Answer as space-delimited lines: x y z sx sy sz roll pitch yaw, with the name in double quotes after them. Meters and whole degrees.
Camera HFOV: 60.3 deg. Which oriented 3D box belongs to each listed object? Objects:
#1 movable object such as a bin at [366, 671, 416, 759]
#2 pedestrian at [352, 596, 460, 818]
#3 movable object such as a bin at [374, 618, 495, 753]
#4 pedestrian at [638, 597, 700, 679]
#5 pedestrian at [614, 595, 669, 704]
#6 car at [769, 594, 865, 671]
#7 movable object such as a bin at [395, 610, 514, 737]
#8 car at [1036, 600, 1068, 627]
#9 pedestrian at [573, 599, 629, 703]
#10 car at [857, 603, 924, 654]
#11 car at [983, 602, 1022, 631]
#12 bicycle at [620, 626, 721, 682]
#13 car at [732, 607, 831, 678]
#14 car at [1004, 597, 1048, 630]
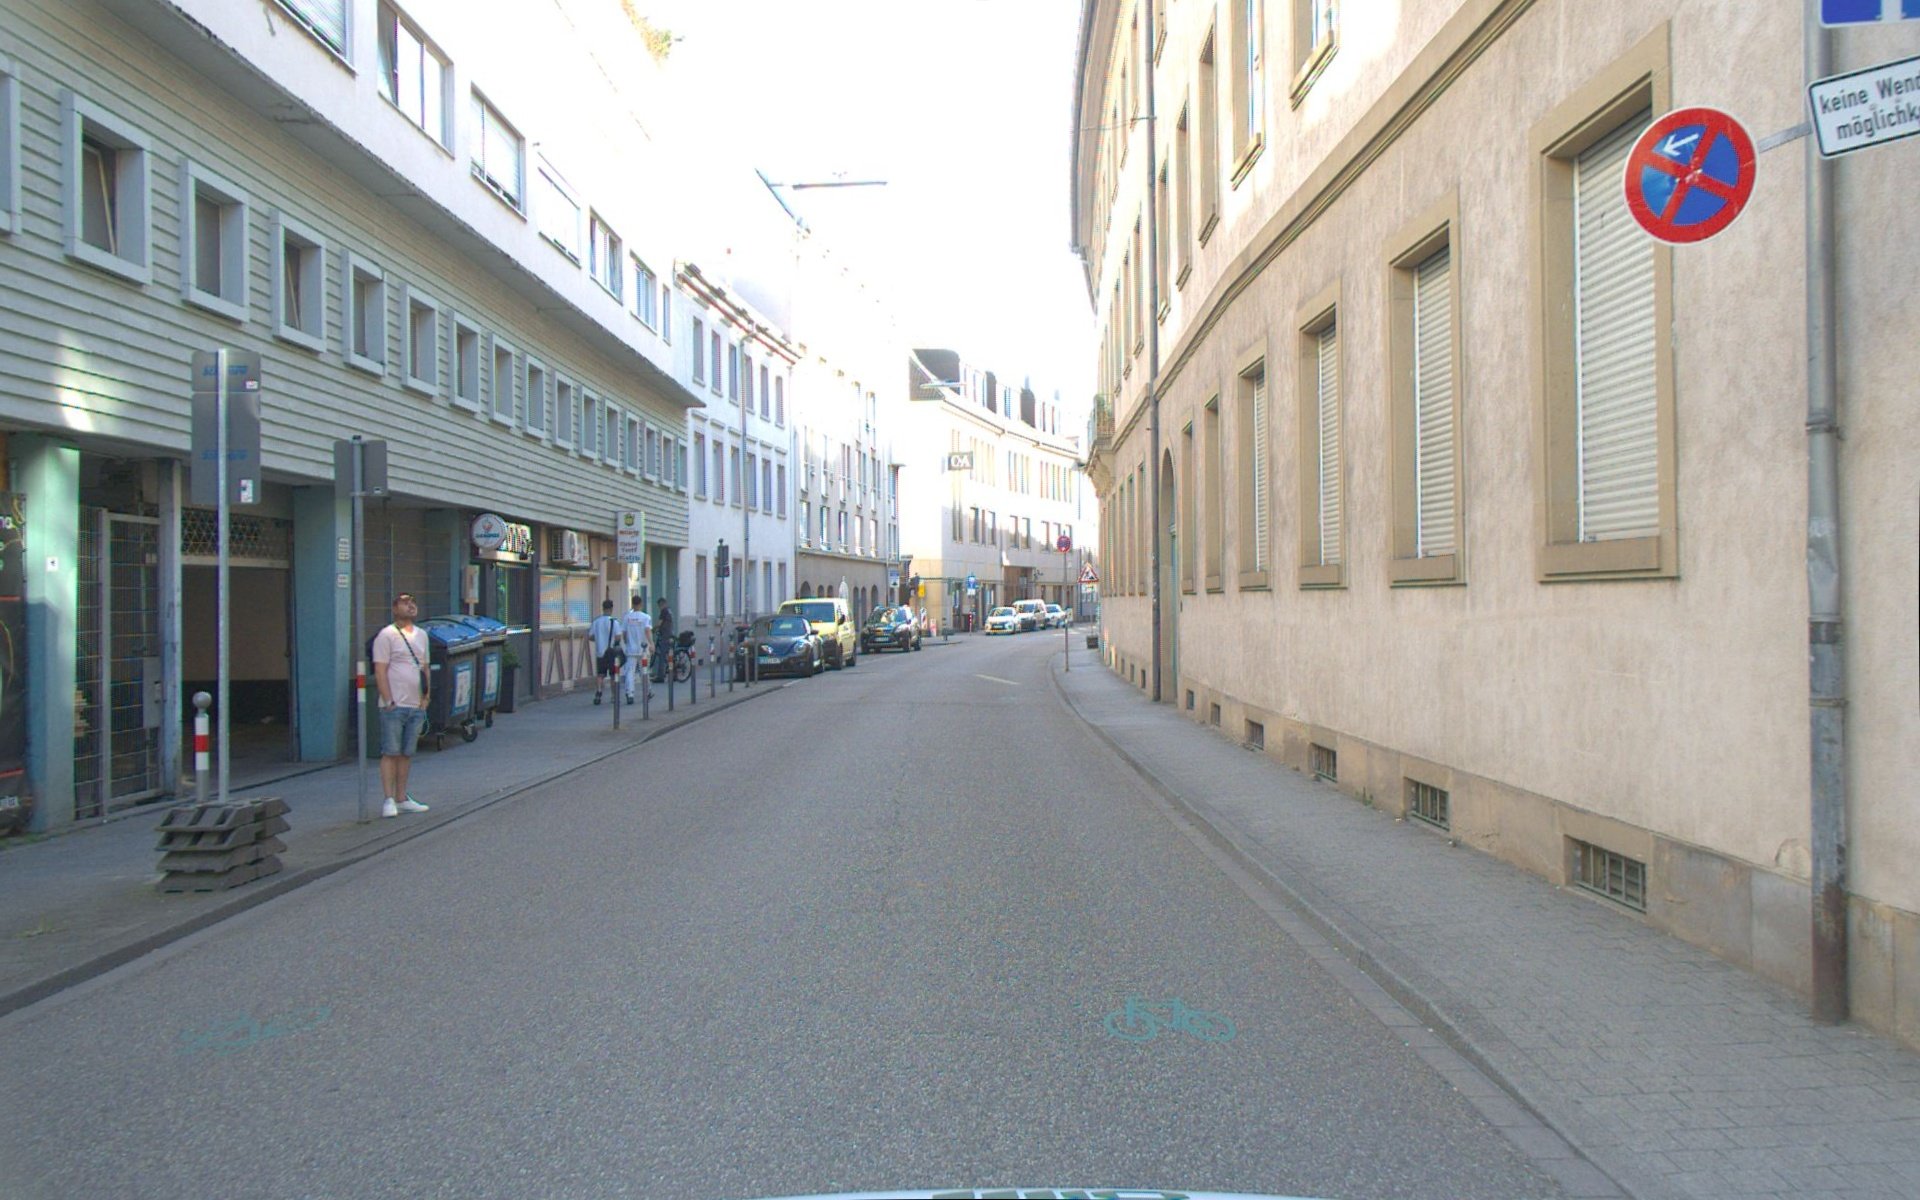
-6.495 1.311 18.893 0.385 0.958 0.467 -1 0 0 "movable object such as a bin"
-4.389 0.828 13.116 0.485 1.699 0.624 1 -1 43 "pedestrian"
-6.304 1.000 19.925 0.948 1.497 1.474 -1 1 0 "movable object such as a bin"
-6.394 0.837 36.356 1.056 1.759 0.801 -1 0 24 "pedestrian"
-5.313 0.808 27.629 0.683 1.765 0.829 -2 0 2 "pedestrian"
-3.881 0.856 45.613 1.841 1.899 4.866 -4 0 3 "car"
-6.540 0.926 21.482 1.099 1.547 1.342 -1 1 0 "movable object such as a bin"
5.794 0.835 103.855 1.244 1.533 3.404 -3 0 15 "car"
-5.980 0.838 27.583 0.658 1.699 0.895 -2 0 2 "pedestrian"
-2.564 1.030 61.811 1.703 1.740 4.194 -4 0 7 "car"
2.407 0.909 92.174 1.635 1.533 3.797 -3 0 9 "car"
-6.359 1.184 36.340 2.086 1.183 0.823 -1 0 24 "bicycle"
-4.249 0.977 39.965 1.781 1.512 4.077 -4 0 1 "car"
3.943 0.785 97.877 1.635 1.850 4.555 -3 0 14 "car"
